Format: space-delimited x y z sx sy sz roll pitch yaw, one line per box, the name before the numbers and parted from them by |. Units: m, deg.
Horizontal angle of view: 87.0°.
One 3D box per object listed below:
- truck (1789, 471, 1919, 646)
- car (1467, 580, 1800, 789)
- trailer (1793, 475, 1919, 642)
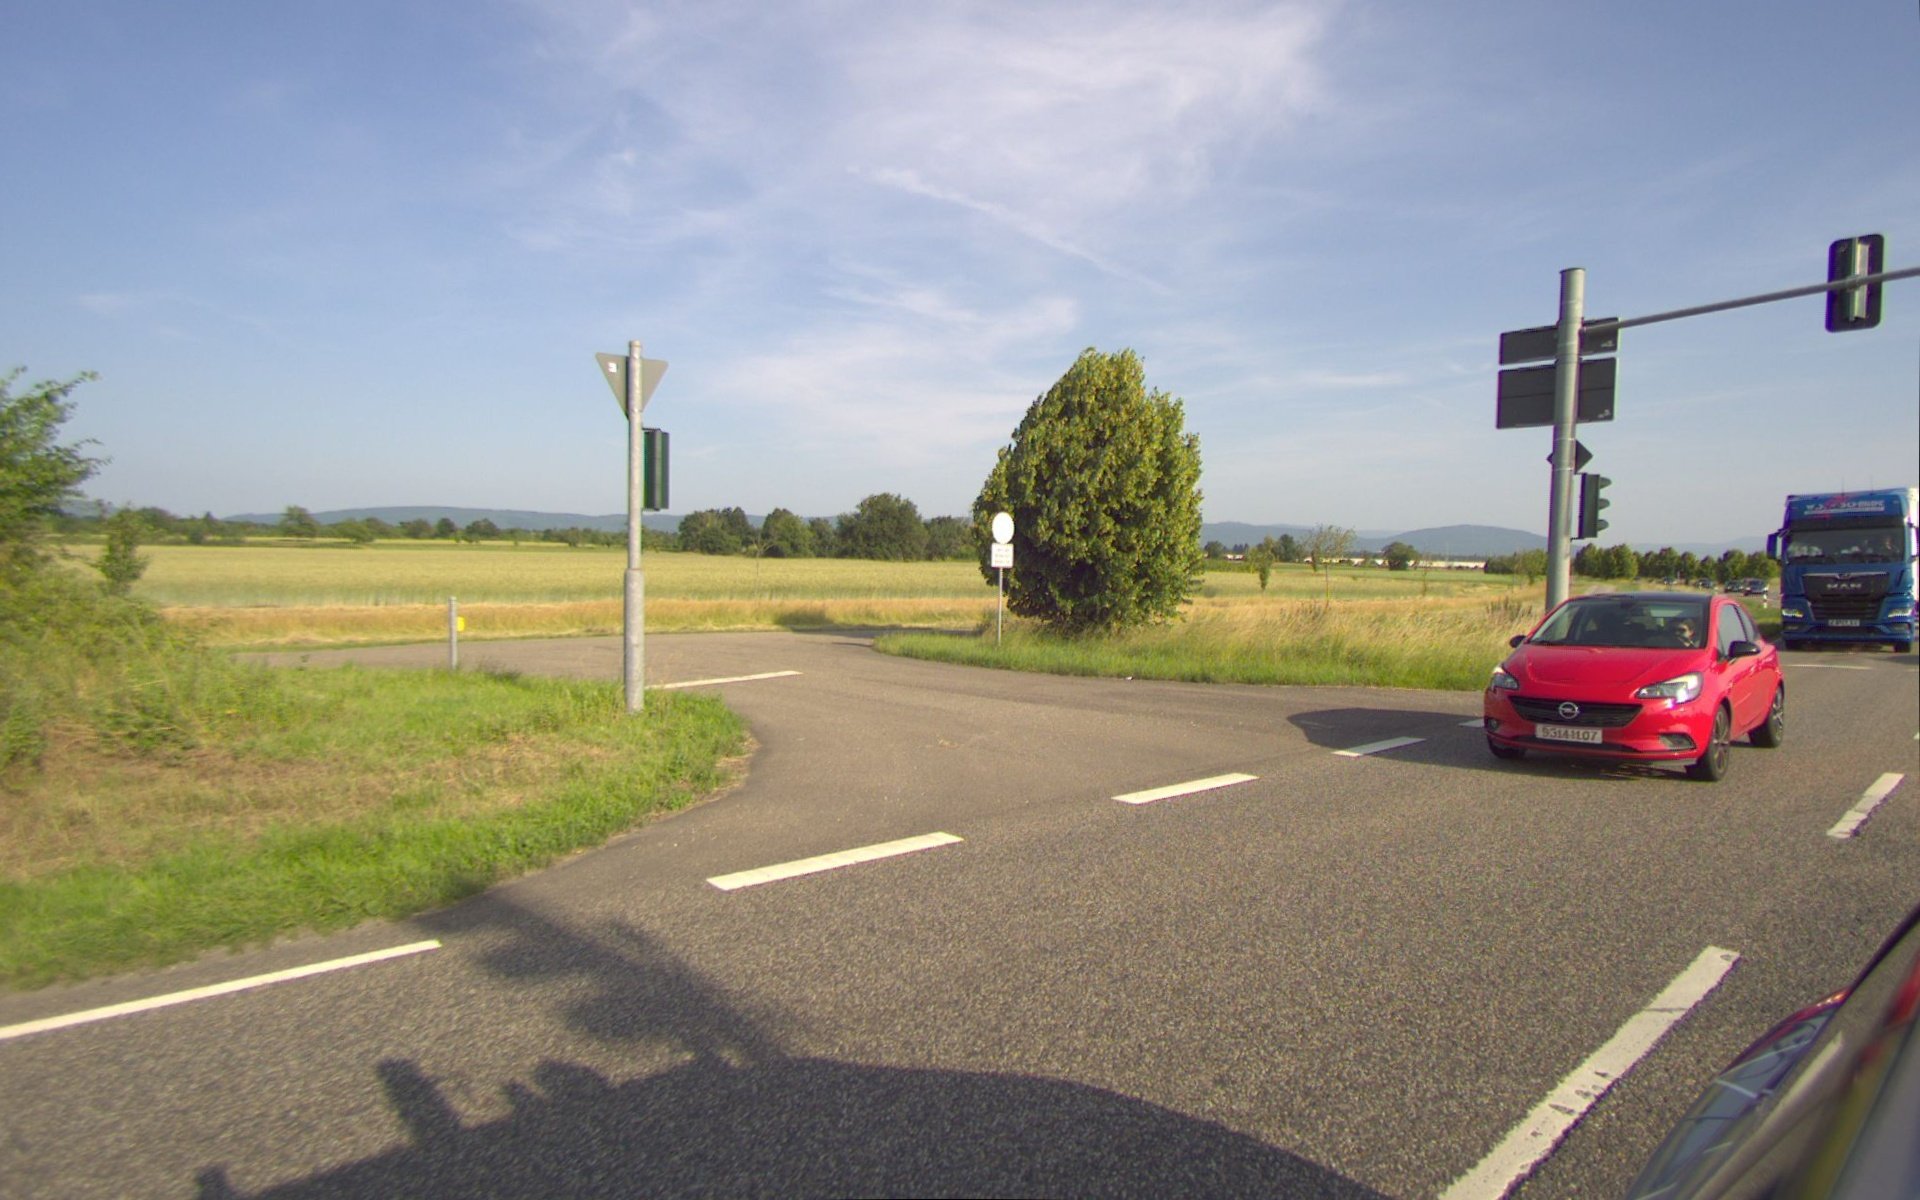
truck | 23.019 -0.994 25.763 2.643 3.968 5.860 0 1 43
car | 6.214 0.564 9.159 3.888 1.482 1.663 -1 2 -43
trailer | 26.992 -1.136 30.184 2.643 4.028 13.719 0 1 42
